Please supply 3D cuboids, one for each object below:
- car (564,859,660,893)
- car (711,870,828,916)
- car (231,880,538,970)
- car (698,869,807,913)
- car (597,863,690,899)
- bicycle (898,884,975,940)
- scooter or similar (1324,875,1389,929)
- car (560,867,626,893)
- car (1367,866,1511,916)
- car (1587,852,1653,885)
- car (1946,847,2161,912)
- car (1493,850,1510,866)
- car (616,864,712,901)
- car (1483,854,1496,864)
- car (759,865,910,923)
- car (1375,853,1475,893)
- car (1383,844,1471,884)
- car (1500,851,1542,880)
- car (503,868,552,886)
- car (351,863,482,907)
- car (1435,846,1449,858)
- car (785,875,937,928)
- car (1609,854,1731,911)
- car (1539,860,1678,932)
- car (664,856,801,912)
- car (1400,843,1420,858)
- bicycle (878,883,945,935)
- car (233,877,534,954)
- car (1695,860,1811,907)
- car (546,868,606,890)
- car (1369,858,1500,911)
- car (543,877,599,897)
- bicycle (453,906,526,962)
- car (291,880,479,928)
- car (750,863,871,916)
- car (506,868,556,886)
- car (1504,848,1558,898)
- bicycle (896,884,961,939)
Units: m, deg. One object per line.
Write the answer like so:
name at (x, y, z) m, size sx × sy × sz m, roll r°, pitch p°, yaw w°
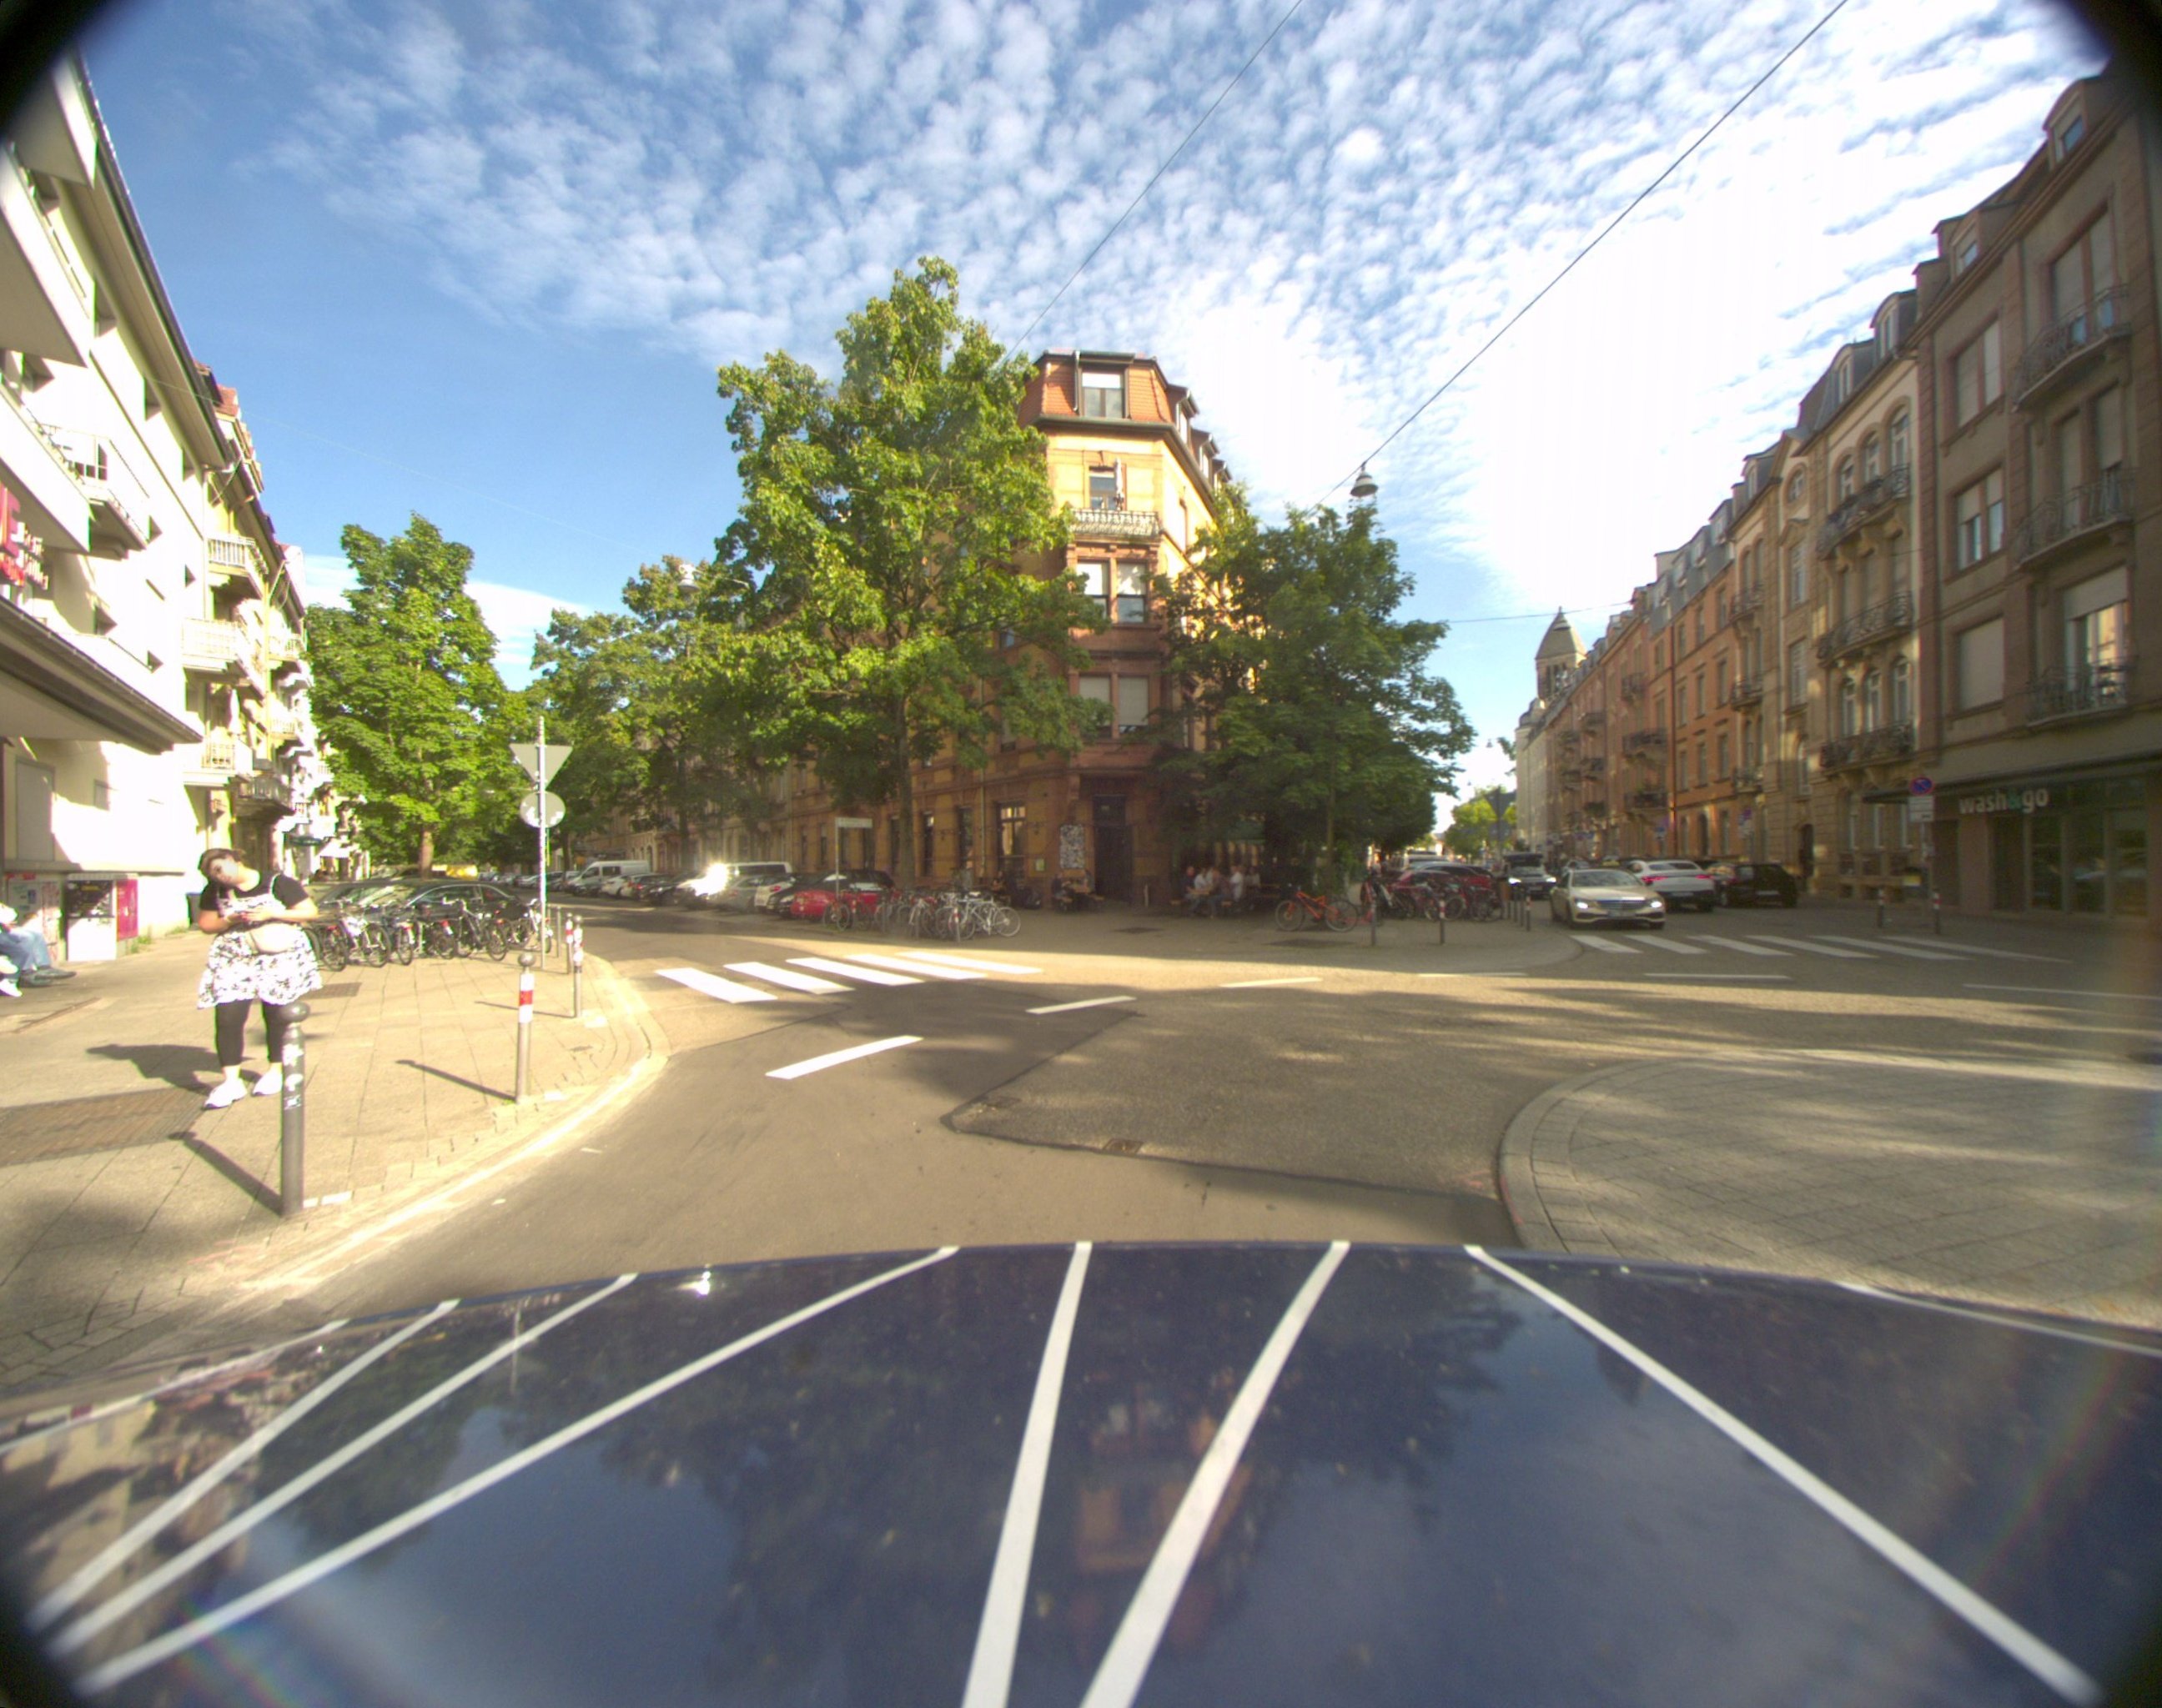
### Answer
car at (-33.158, 1.534, 53.849) m, size 5.493 × 2.188 × 1.995 m, roll -1°, pitch -1°, yaw -40°
car at (-11.788, 1.442, 28.862) m, size 3.714 × 1.449 × 1.666 m, roll -3°, pitch 0°, yaw -39°
car at (-13.309, 1.275, 14.802) m, size 1.805 × 1.446 × 4.010 m, roll 1°, pitch -2°, yaw 31°
car at (-13.486, 1.478, 31.256) m, size 3.714 × 1.449 × 1.665 m, roll -4°, pitch 2°, yaw -39°
car at (-26.432, 1.571, 46.010) m, size 4.467 × 1.823 × 1.931 m, roll -4°, pitch 2°, yaw -44°
bicycle at (-3.451, 1.376, 18.167) m, size 1.715 × 1.195 × 0.447 m, roll -2°, pitch 2°, yaw -28°
scooter or similar at (6.440, 1.106, 17.793) m, size 0.557 × 1.203 × 1.289 m, roll 2°, pitch -1°, yaw -43°
car at (-38.546, 2.055, 60.022) m, size 4.134 × 1.862 × 1.995 m, roll -1°, pitch -1°, yaw -40°
car at (10.706, 1.091, 22.871) m, size 3.585 × 1.372 × 1.513 m, roll 1°, pitch 0°, yaw -1°
car at (28.002, 0.738, 39.588) m, size 1.759 × 1.588 × 4.349 m, roll -2°, pitch -1°, yaw 21°
car at (27.147, 0.698, 20.860) m, size 3.992 × 1.611 × 2.003 m, roll -2°, pitch -1°, yaw 16°
car at (54.558, 0.530, 98.636) m, size 1.724 × 1.921 × 4.018 m, roll -1°, pitch 0°, yaw 25°
car at (-24.379, 1.611, 44.542) m, size 4.467 × 1.823 × 1.931 m, roll -4°, pitch 2°, yaw -44°
car at (63.436, 0.761, 117.999) m, size 1.622 × 1.371 × 3.768 m, roll -1°, pitch 0°, yaw 25°
car at (-8.185, 1.260, 25.324) m, size 4.319 × 1.560 × 2.002 m, roll -3°, pitch 0°, yaw -35°
car at (14.823, 0.819, 32.854) m, size 3.584 × 1.603 × 1.513 m, roll 1°, pitch 0°, yaw 1°
car at (22.233, 0.637, 48.887) m, size 4.738 × 2.408 × 1.999 m, roll -2°, pitch -1°, yaw -8°
car at (30.510, 0.784, 52.802) m, size 1.940 × 1.868 × 4.845 m, roll -2°, pitch -1°, yaw 23°
car at (-58.479, 2.460, 80.296) m, size 4.008 × 1.721 × 1.825 m, roll -1°, pitch -1°, yaw -42°
car at (-35.277, 1.614, 40.543) m, size 2.143 × 2.207 × 4.818 m, roll -1°, pitch -2°, yaw 18°
car at (57.607, -0.323, 121.231) m, size 1.995 × 1.877 × 4.008 m, roll -2°, pitch -1°, yaw 27°
car at (-6.594, 1.385, 23.071) m, size 4.120 × 1.263 × 1.564 m, roll -3°, pitch 0°, yaw -43°
car at (18.432, 0.839, 24.043) m, size 1.995 × 1.624 × 4.852 m, roll -1°, pitch -1°, yaw 25°
car at (13.167, 1.010, 19.308) m, size 1.940 × 1.587 × 4.845 m, roll -2°, pitch -2°, yaw 23°
car at (-15.068, 1.235, 33.023) m, size 4.920 × 1.978 × 2.041 m, roll -4°, pitch 2°, yaw -44°
car at (39.067, -0.415, 90.316) m, size 1.847 × 1.724 × 4.006 m, roll -2°, pitch -1°, yaw 19°
bicycle at (-4.364, 1.394, 19.655) m, size 0.447 × 1.195 × 1.716 m, roll 0°, pitch 2°, yaw 41°
car at (-15.307, 1.275, 17.111) m, size 1.953 × 1.446 × 4.672 m, roll -1°, pitch -2°, yaw 15°
car at (21.414, 0.916, 24.377) m, size 1.721 × 1.360 × 3.836 m, roll -2°, pitch -1°, yaw 25°
car at (-43.378, 2.143, 65.289) m, size 4.008 × 1.721 × 1.825 m, roll -1°, pitch -1°, yaw -42°
car at (11.670, 0.996, 25.220) m, size 3.584 × 1.606 × 1.513 m, roll 1°, pitch 0°, yaw 1°
car at (-46.232, 2.978, 68.915) m, size 4.008 × 1.721 × 1.825 m, roll -1°, pitch -1°, yaw -42°
bicycle at (-11.296, 1.504, 14.496) m, size 1.420 × 0.995 × 0.494 m, roll -1°, pitch -1°, yaw 25°
car at (-24.535, 1.718, 27.042) m, size 1.746 × 1.486 × 4.638 m, roll -1°, pitch -2°, yaw 22°
car at (-9.776, 1.259, 27.551) m, size 3.715 × 1.710 × 1.856 m, roll -1°, pitch -1°, yaw -39°
car at (-56.837, 2.368, 78.610) m, size 4.008 × 1.721 × 1.825 m, roll -1°, pitch -1°, yaw -42°
car at (19.532, 0.780, 33.100) m, size 1.789 × 2.051 × 4.008 m, roll -1°, pitch 0°, yaw 27°
bicycle at (-3.750, 1.399, 18.827) m, size 0.447 × 1.195 × 1.715 m, roll 0°, pitch 2°, yaw 36°
